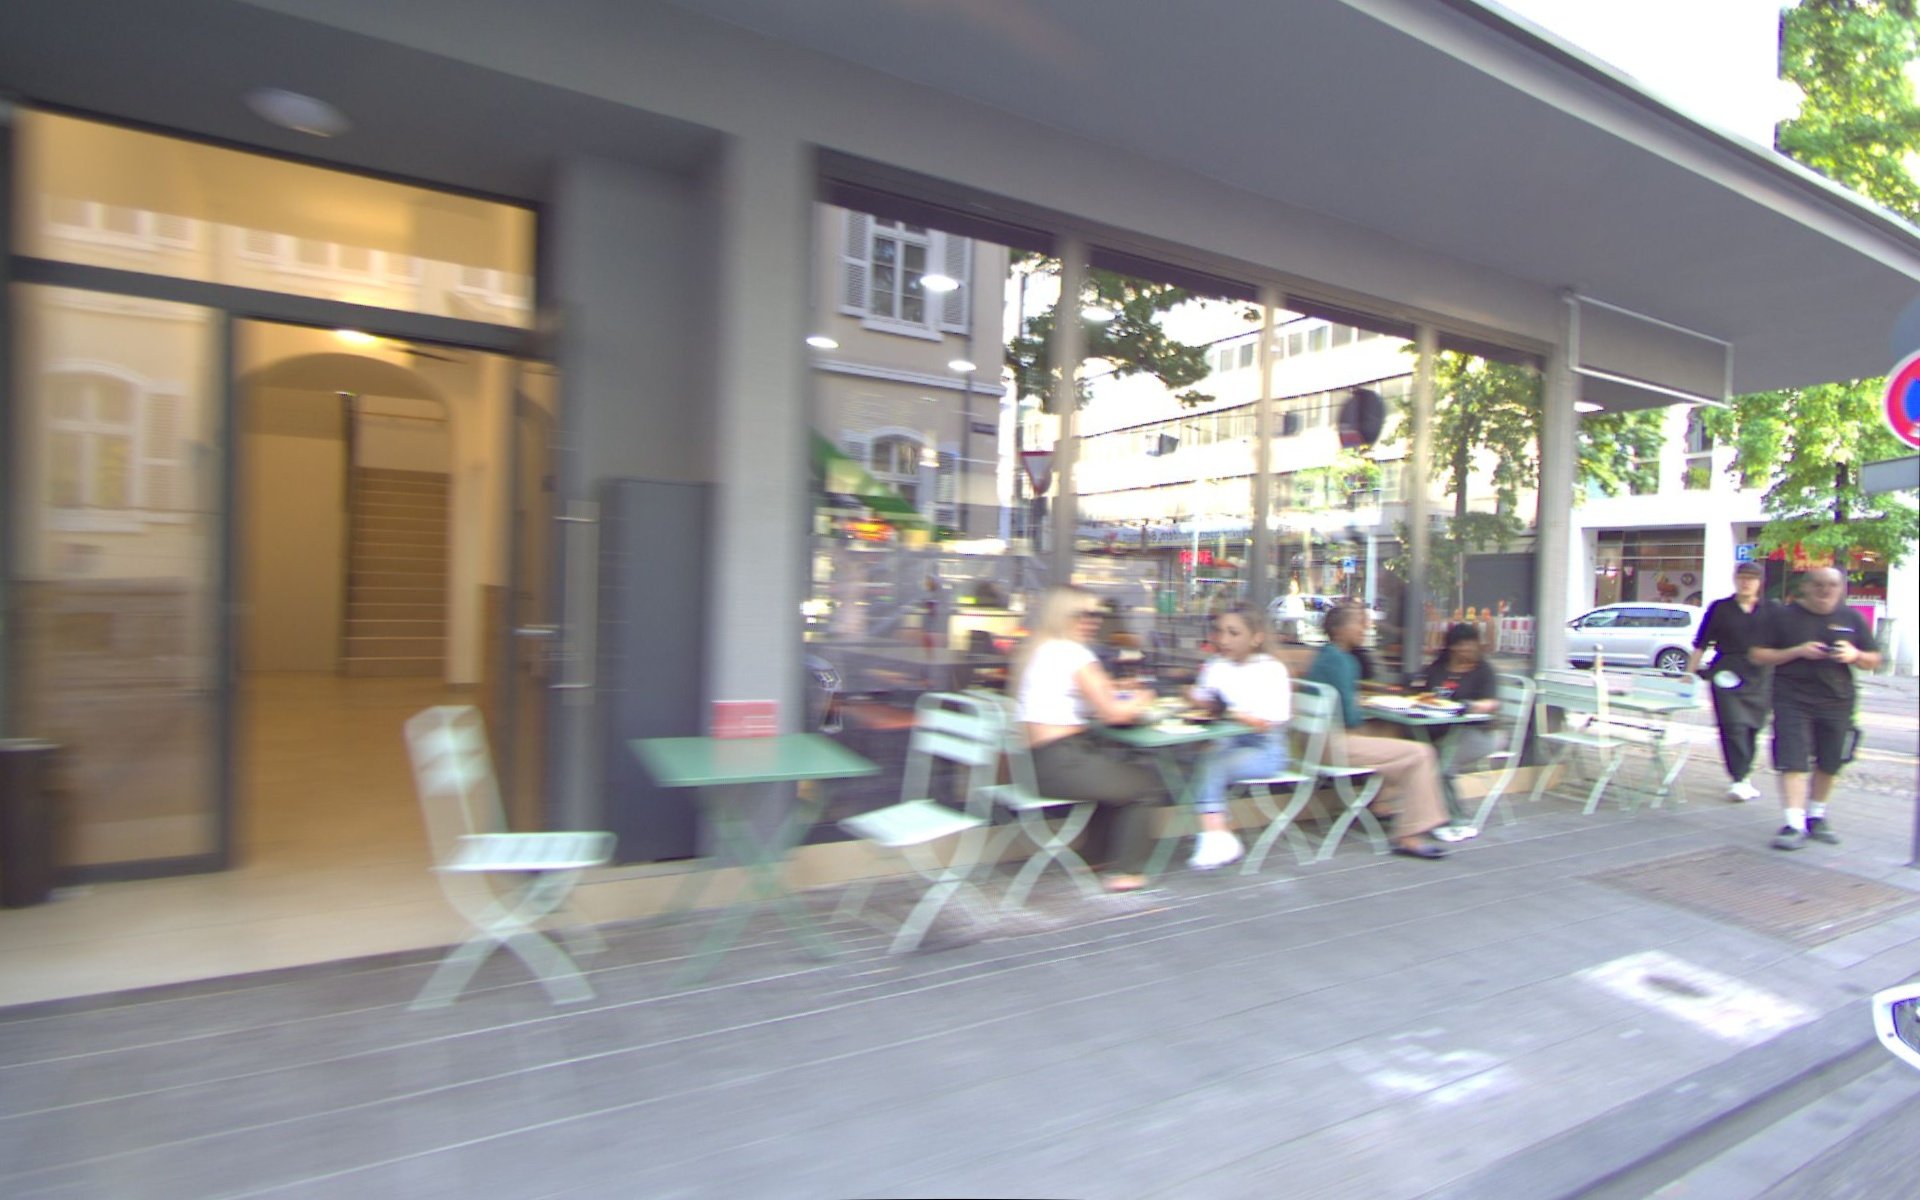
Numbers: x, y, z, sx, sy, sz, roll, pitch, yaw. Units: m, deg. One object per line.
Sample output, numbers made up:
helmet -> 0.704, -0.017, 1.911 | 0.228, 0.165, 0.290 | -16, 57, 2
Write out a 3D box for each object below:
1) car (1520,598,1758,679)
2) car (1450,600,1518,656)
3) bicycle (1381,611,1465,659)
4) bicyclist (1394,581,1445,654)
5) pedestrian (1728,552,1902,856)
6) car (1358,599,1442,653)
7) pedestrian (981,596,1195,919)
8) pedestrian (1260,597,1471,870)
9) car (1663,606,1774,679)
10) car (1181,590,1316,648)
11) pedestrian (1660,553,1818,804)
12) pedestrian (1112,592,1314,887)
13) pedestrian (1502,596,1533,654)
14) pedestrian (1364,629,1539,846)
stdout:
car -> 15.871, 0.866, 23.692 | 1.809, 1.613, 4.245 | 4, -1, -33
car -> 16.566, 0.832, 31.666 | 1.563, 1.526, 3.582 | 1, 2, 33
bicycle -> 12.285, 0.907, 26.725 | 0.507, 1.166, 2.037 | 1, 1, -33
bicyclist -> 12.245, 0.459, 26.765 | 0.647, 1.880, 0.982 | 1, 1, -32
pedestrian -> 5.110, 0.577, 6.029 | 0.677, 1.690, 0.504 | 4, 2, 41
car -> 14.458, 0.799, 32.885 | 1.917, 1.526, 3.986 | 1, 2, 33
pedestrian -> 0.564, 0.650, 4.507 | 0.705, 1.293, 0.570 | 1, 3, -30
pedestrian -> 2.139, 0.653, 5.337 | 0.705, 1.293, 0.698 | 1, 3, -30
car -> 19.136, 0.990, 25.509 | 1.917, 1.526, 3.986 | 1, 2, 33
car -> 9.856, 0.605, 34.607 | 1.849, 1.760, 4.246 | 4, -1, -32
pedestrian -> 5.702, 0.528, 7.415 | 0.786, 1.690, 0.899 | 4, 2, 35
pedestrian -> 1.222, 0.626, 4.887 | 0.705, 1.293, 0.570 | 1, 3, -30
pedestrian -> 16.220, 0.710, 29.243 | 0.632, 1.649, 0.640 | 2, 1, 39
pedestrian -> 2.841, 0.754, 5.823 | 0.705, 1.129, 0.570 | 1, 3, -30
